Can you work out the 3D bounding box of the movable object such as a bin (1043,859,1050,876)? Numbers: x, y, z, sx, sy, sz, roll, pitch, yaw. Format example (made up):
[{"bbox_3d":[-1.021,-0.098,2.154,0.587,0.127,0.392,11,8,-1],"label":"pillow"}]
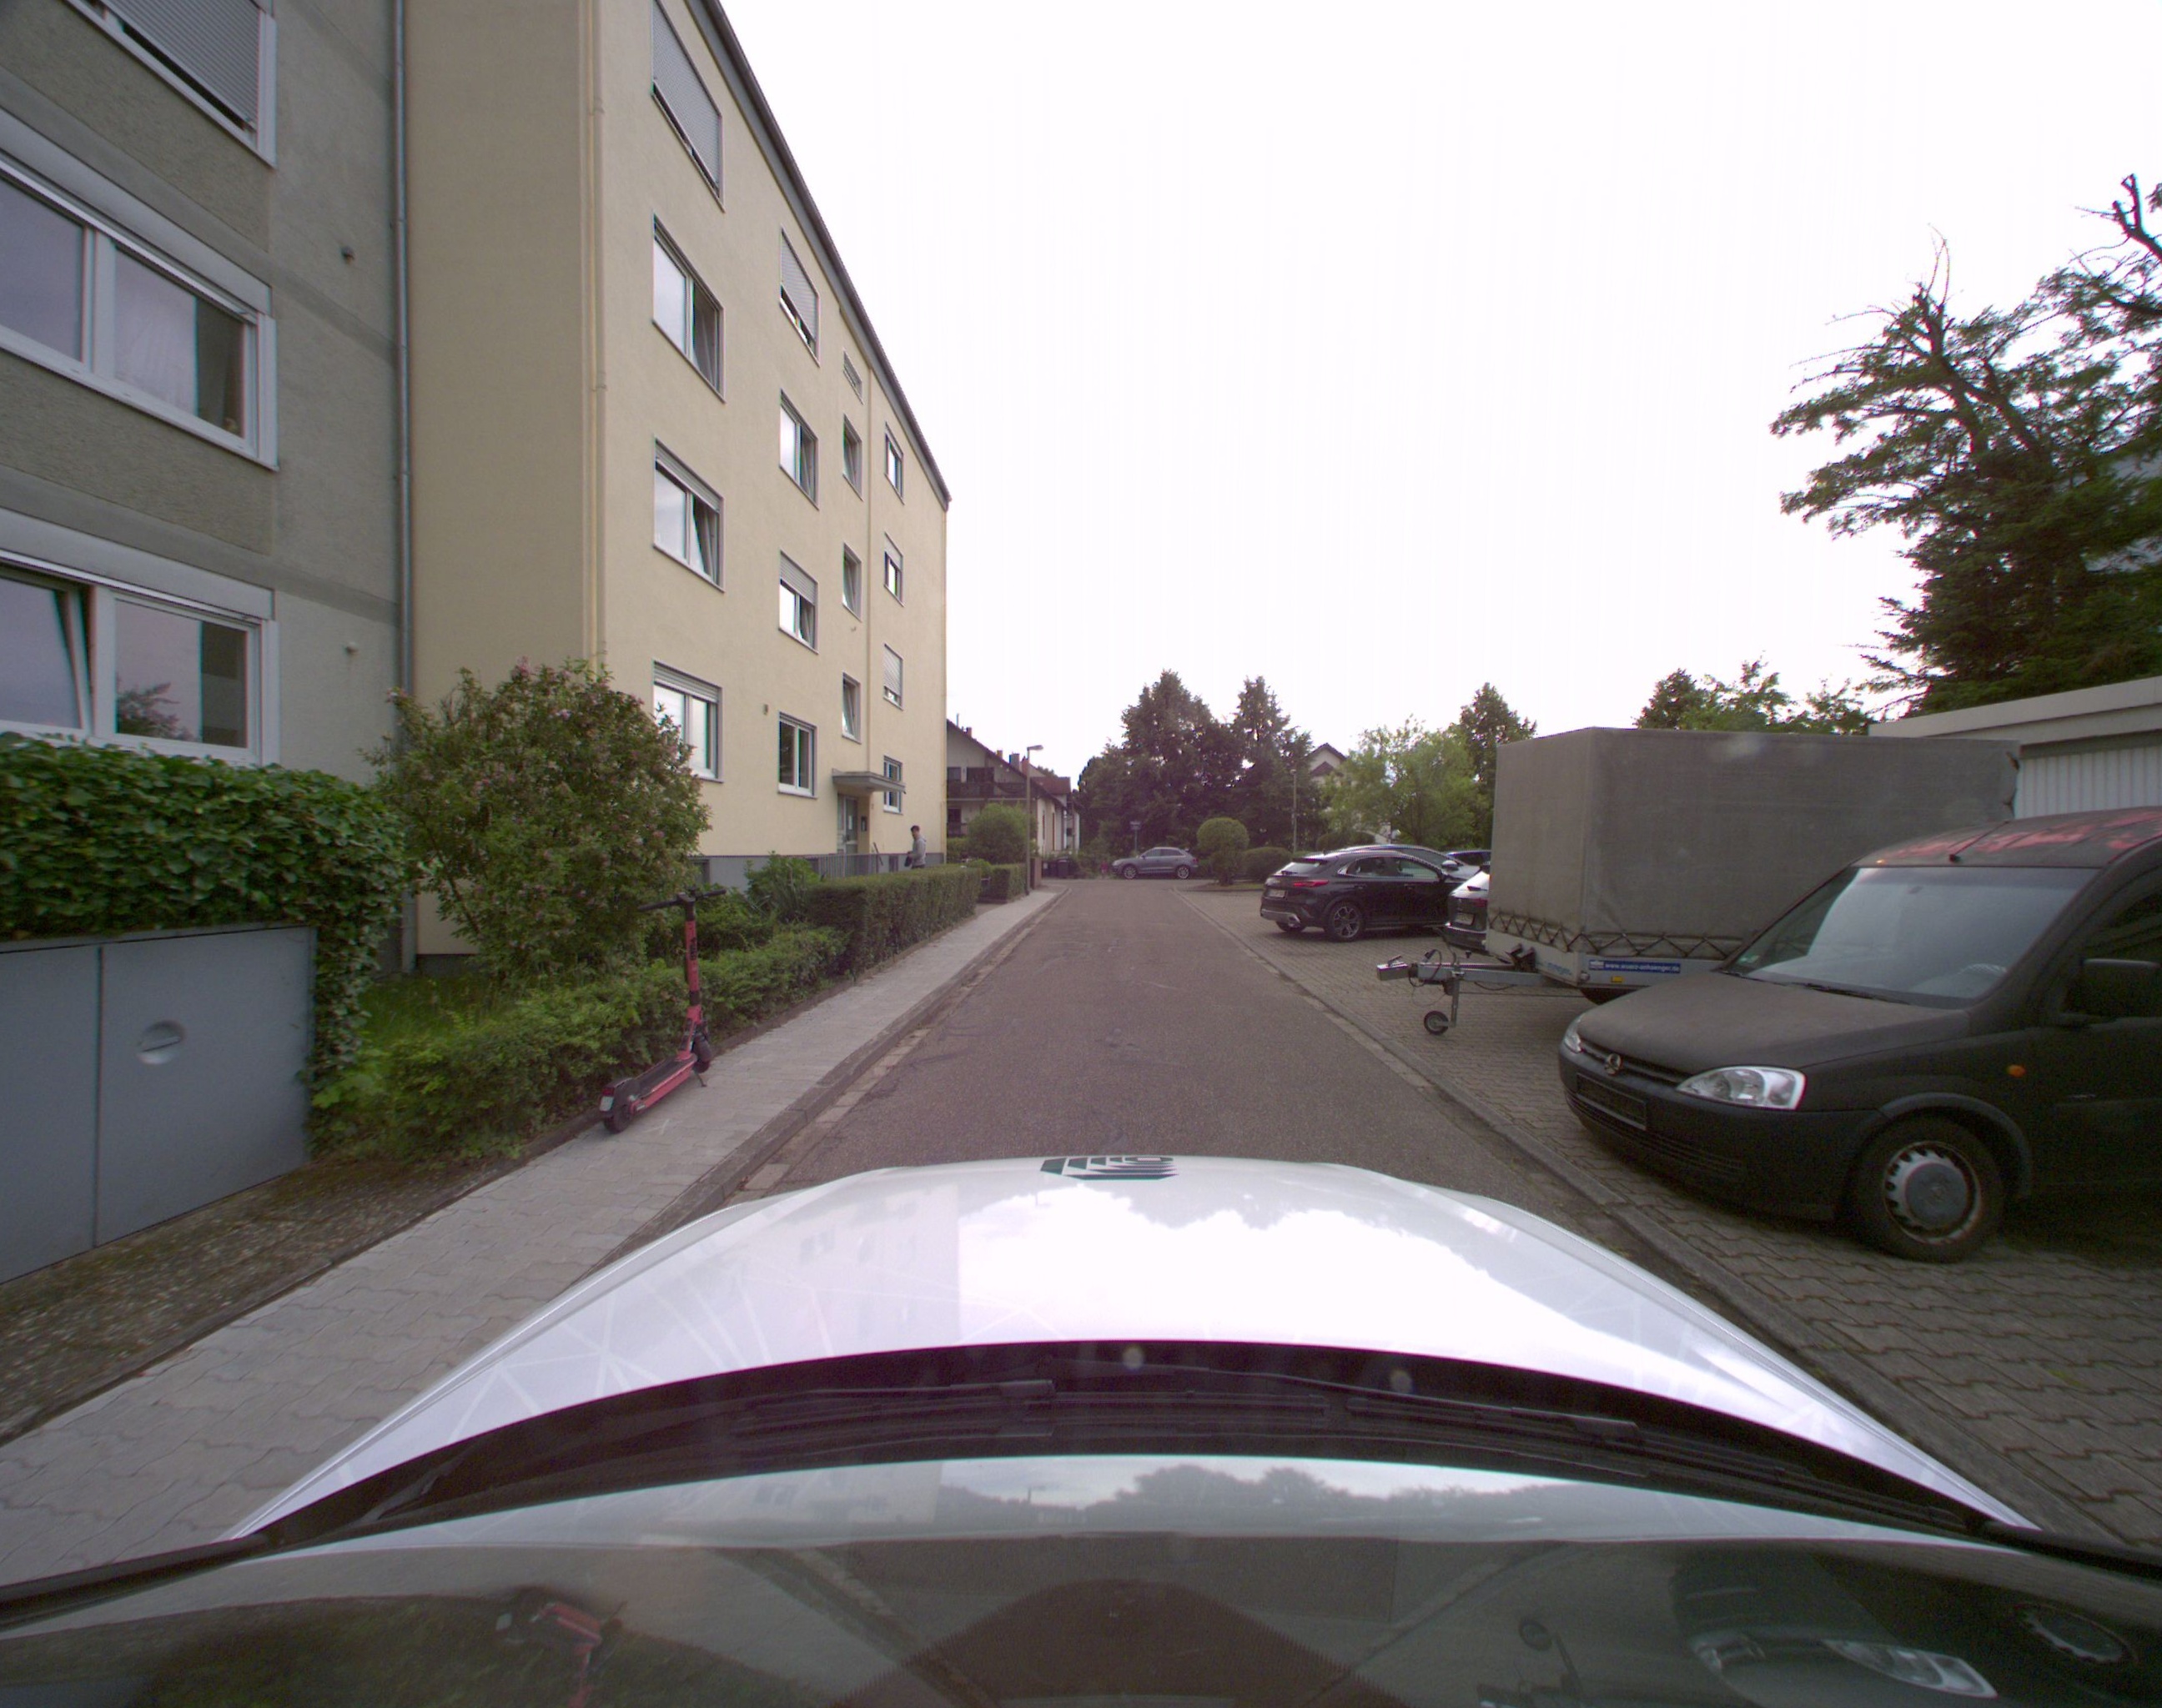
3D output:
[{"bbox_3d":[-1.858,0.735,44.047,0.384,0.901,0.379,1,0,0],"label":"movable object such as a bin"}]

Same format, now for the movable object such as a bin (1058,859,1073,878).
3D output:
[{"bbox_3d":[-0.809,0.775,43.224,0.731,0.953,0.584,1,0,2],"label":"movable object such as a bin"}]

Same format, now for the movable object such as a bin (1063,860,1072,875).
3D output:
[{"bbox_3d":[-0.727,0.724,44.431,0.458,0.797,0.379,1,0,0],"label":"movable object such as a bin"}]

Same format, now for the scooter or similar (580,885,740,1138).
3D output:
[{"bbox_3d":[-2.361,0.815,4.681,0.272,1.211,1.165,0,1,2],"label":"scooter or similar"}]

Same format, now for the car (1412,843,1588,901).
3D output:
[{"bbox_3d":[11.506,0.471,22.587,3.883,1.510,2.029,0,1,2],"label":"car"}]

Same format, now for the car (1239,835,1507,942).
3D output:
[{"bbox_3d":[5.070,0.536,14.365,3.992,1.552,1.991,-2,1,-14],"label":"car"}]

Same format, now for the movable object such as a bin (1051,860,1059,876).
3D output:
[{"bbox_3d":[-1.392,0.755,44.074,0.384,0.889,0.379,1,0,0],"label":"movable object such as a bin"}]

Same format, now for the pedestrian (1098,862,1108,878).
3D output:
[{"bbox_3d":[2.019,1.474,74.813,0.812,1.517,0.438,0,-1,-1],"label":"pedestrian"}]

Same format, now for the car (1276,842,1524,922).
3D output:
[{"bbox_3d":[6.599,0.556,17.285,4.517,1.588,1.990,0,1,3],"label":"car"}]

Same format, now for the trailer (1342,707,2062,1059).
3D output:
[{"bbox_3d":[4.790,0.194,6.894,4.591,2.525,1.944,0,0,2],"label":"trailer"}]

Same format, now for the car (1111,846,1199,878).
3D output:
[{"bbox_3d":[3.608,0.399,40.248,4.221,1.531,1.748,0,-2,1],"label":"car"}]

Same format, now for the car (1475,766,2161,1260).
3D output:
[{"bbox_3d":[4.612,0.537,4.055,4.295,1.801,2.001,-3,0,1],"label":"car"}]

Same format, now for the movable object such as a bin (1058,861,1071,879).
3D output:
[{"bbox_3d":[-0.850,0.830,42.387,0.636,0.953,0.723,1,0,1],"label":"movable object such as a bin"}]

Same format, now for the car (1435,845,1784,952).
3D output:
[{"bbox_3d":[7.688,0.618,12.221,3.977,1.449,1.918,-1,0,4],"label":"car"}]

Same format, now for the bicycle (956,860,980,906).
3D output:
[{"bbox_3d":[-2.783,0.690,20.129,0.317,1.075,1.419,1,0,3],"label":"bicycle"}]

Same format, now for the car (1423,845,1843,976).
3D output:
[{"bbox_3d":[6.625,0.644,10.095,4.112,1.449,1.613,-1,0,1],"label":"car"}]

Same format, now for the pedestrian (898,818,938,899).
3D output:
[{"bbox_3d":[-3.582,0.093,17.936,0.676,1.749,0.756,1,0,1],"label":"pedestrian"}]
